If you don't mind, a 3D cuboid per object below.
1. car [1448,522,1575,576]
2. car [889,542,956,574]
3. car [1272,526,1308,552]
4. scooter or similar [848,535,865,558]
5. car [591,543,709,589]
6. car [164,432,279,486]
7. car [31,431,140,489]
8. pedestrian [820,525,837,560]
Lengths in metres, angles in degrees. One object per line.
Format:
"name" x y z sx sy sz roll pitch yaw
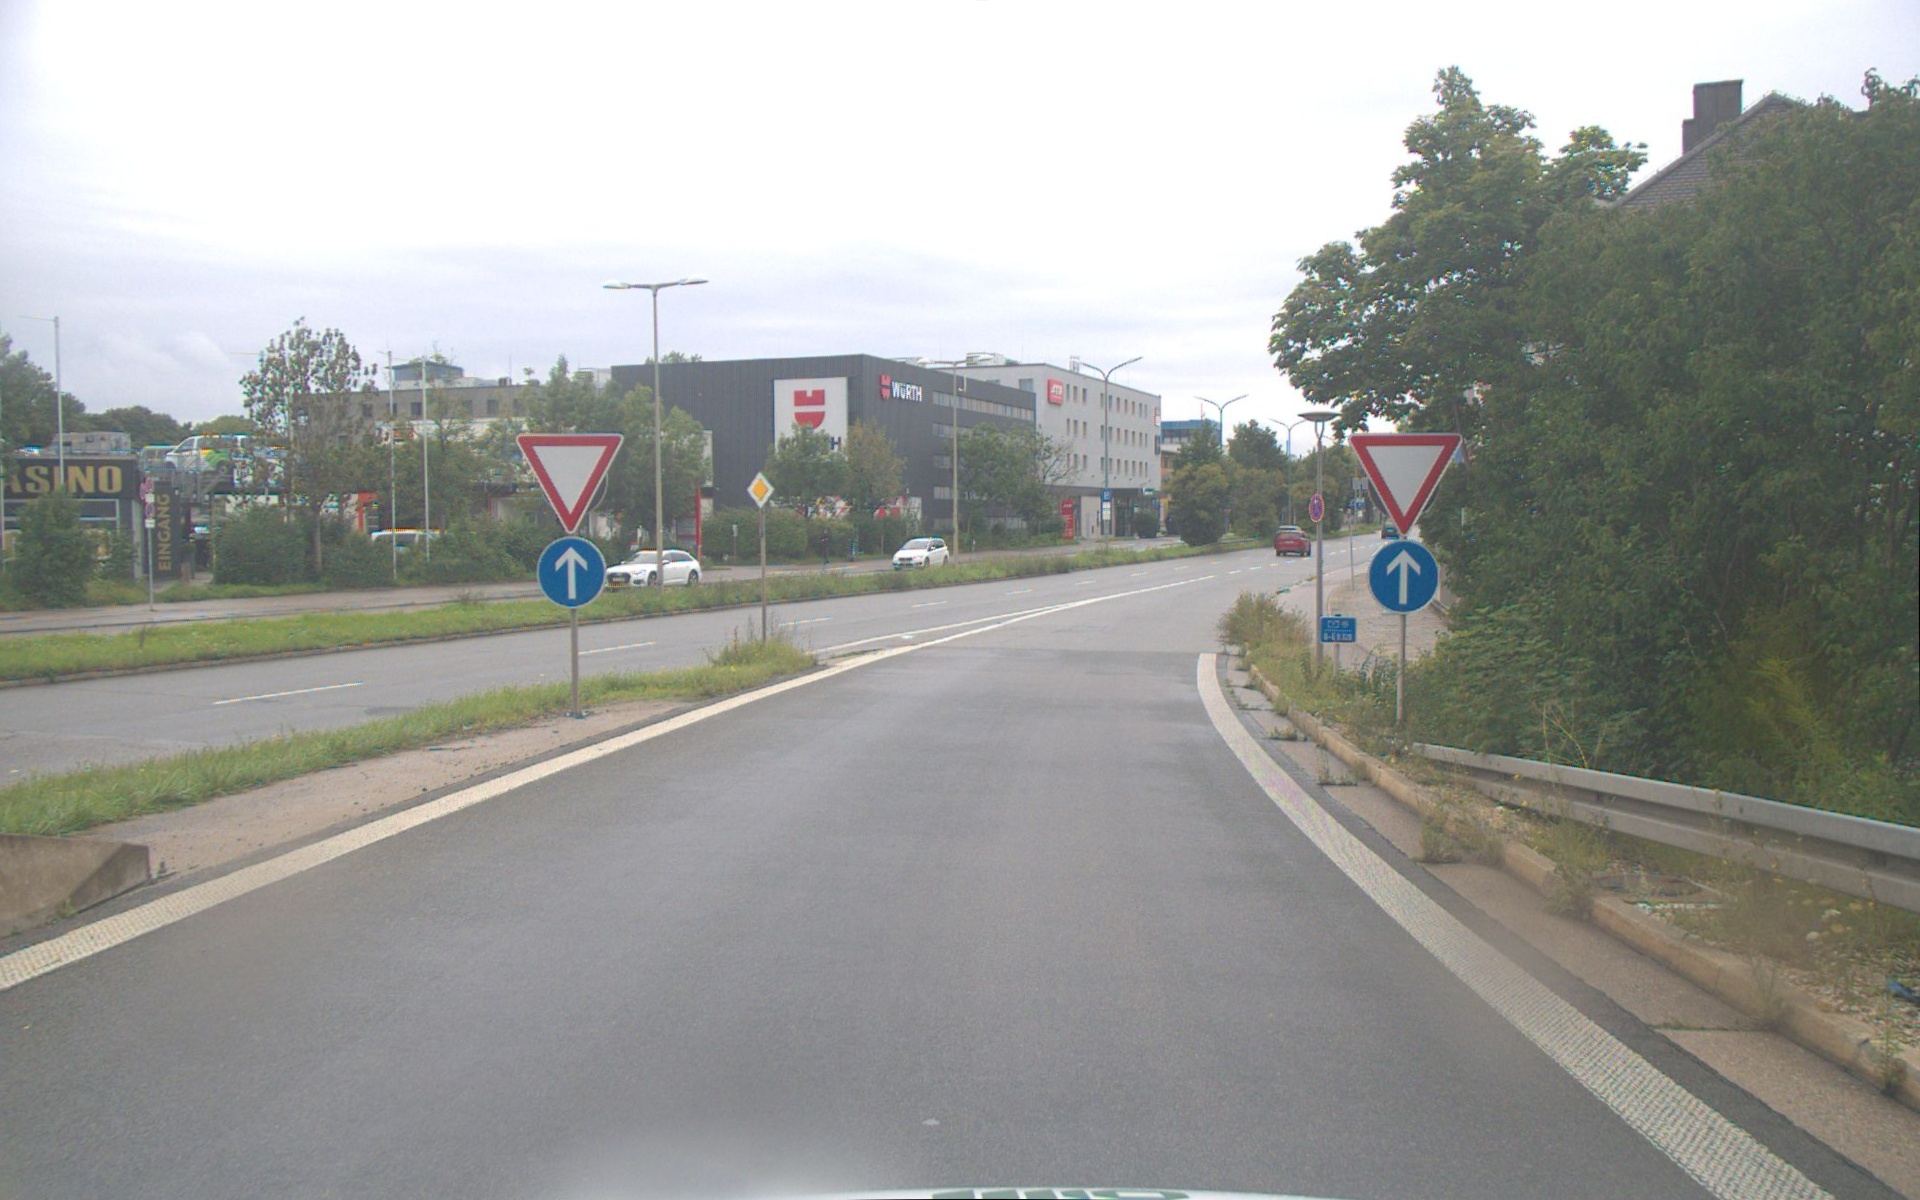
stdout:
"car" 18.631 -1.738 55.954 4.010 1.755 1.928 0 3 18
"car" -1.914 -2.215 86.303 1.952 1.599 4.576 0 2 20
"car" 21.069 -3.906 105.510 1.823 1.646 4.003 1 3 17
"scooter or similar" -5.874 -3.023 93.822 0.436 1.248 1.388 0 3 18
"car" -11.404 -1.288 61.308 1.952 1.599 5.121 0 2 20
"car" -34.062 -6.457 76.258 4.684 2.049 2.135 -2 -1 21
"car" -42.989 -6.850 81.292 4.684 2.411 2.135 -2 -1 21
"pedestrian" -7.078 -3.089 89.150 0.609 1.861 0.818 0 3 20
